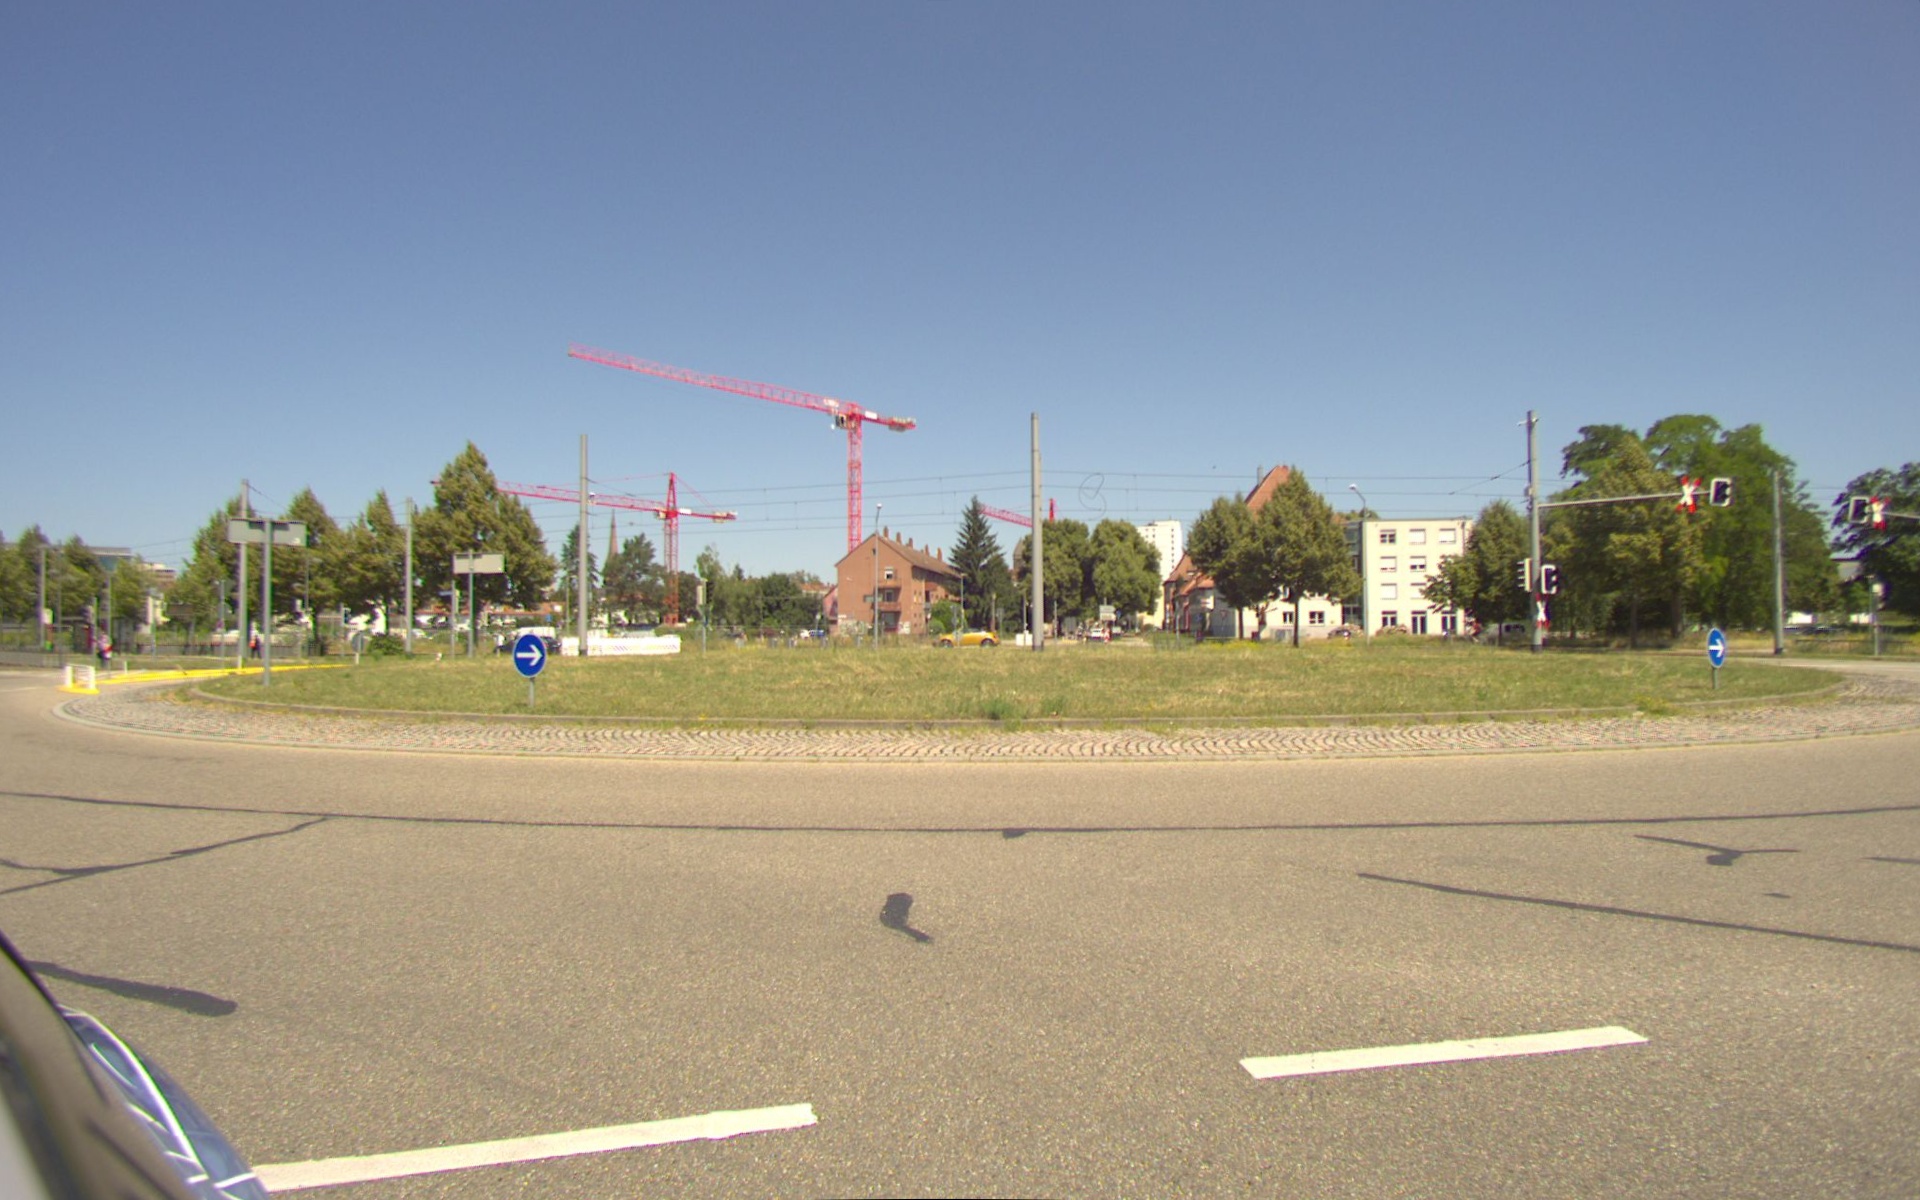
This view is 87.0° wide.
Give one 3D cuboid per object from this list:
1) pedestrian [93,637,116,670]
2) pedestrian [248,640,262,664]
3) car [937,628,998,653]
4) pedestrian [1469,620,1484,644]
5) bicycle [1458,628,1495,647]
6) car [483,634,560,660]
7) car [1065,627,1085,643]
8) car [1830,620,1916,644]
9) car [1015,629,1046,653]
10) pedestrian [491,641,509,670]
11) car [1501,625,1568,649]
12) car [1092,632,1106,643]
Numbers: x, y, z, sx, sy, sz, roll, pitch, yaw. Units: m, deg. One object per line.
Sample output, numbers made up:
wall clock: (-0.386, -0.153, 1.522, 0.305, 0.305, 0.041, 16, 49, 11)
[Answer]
pedestrian: (-42.986, 2.670, 50.853, 0.781, 1.652, 0.750, 0, -2, 40)
pedestrian: (-42.746, 3.162, 61.391, 0.543, 1.417, 0.589, -3, -2, 42)
car: (0.470, 2.448, 61.314, 3.614, 1.413, 1.829, 0, -1, 4)
pedestrian: (32.806, 2.038, 64.265, 0.815, 1.461, 0.702, 0, -2, 30)
bicycle: (32.788, 2.385, 64.271, 2.051, 1.123, 0.722, 0, -2, 31)
car: (-27.176, 2.912, 62.853, 3.941, 1.475, 2.001, 1, -2, -2)
car: (14.920, 4.579, 131.261, 1.981, 2.029, 3.980, 1, -2, 15)
car: (63.851, 2.233, 70.836, 1.965, 1.586, 4.013, 2, -2, -26)
car: (6.270, 3.621, 89.918, 1.981, 2.029, 3.980, 1, -2, 15)
pedestrian: (-30.499, 3.652, 67.089, 0.731, 1.913, 0.804, 0, -2, 40)
car: (43.107, 2.743, 76.043, 3.964, 1.697, 1.990, 1, -2, 16)
car: (18.641, 4.942, 135.196, 1.697, 1.431, 3.888, 1, -2, 10)
